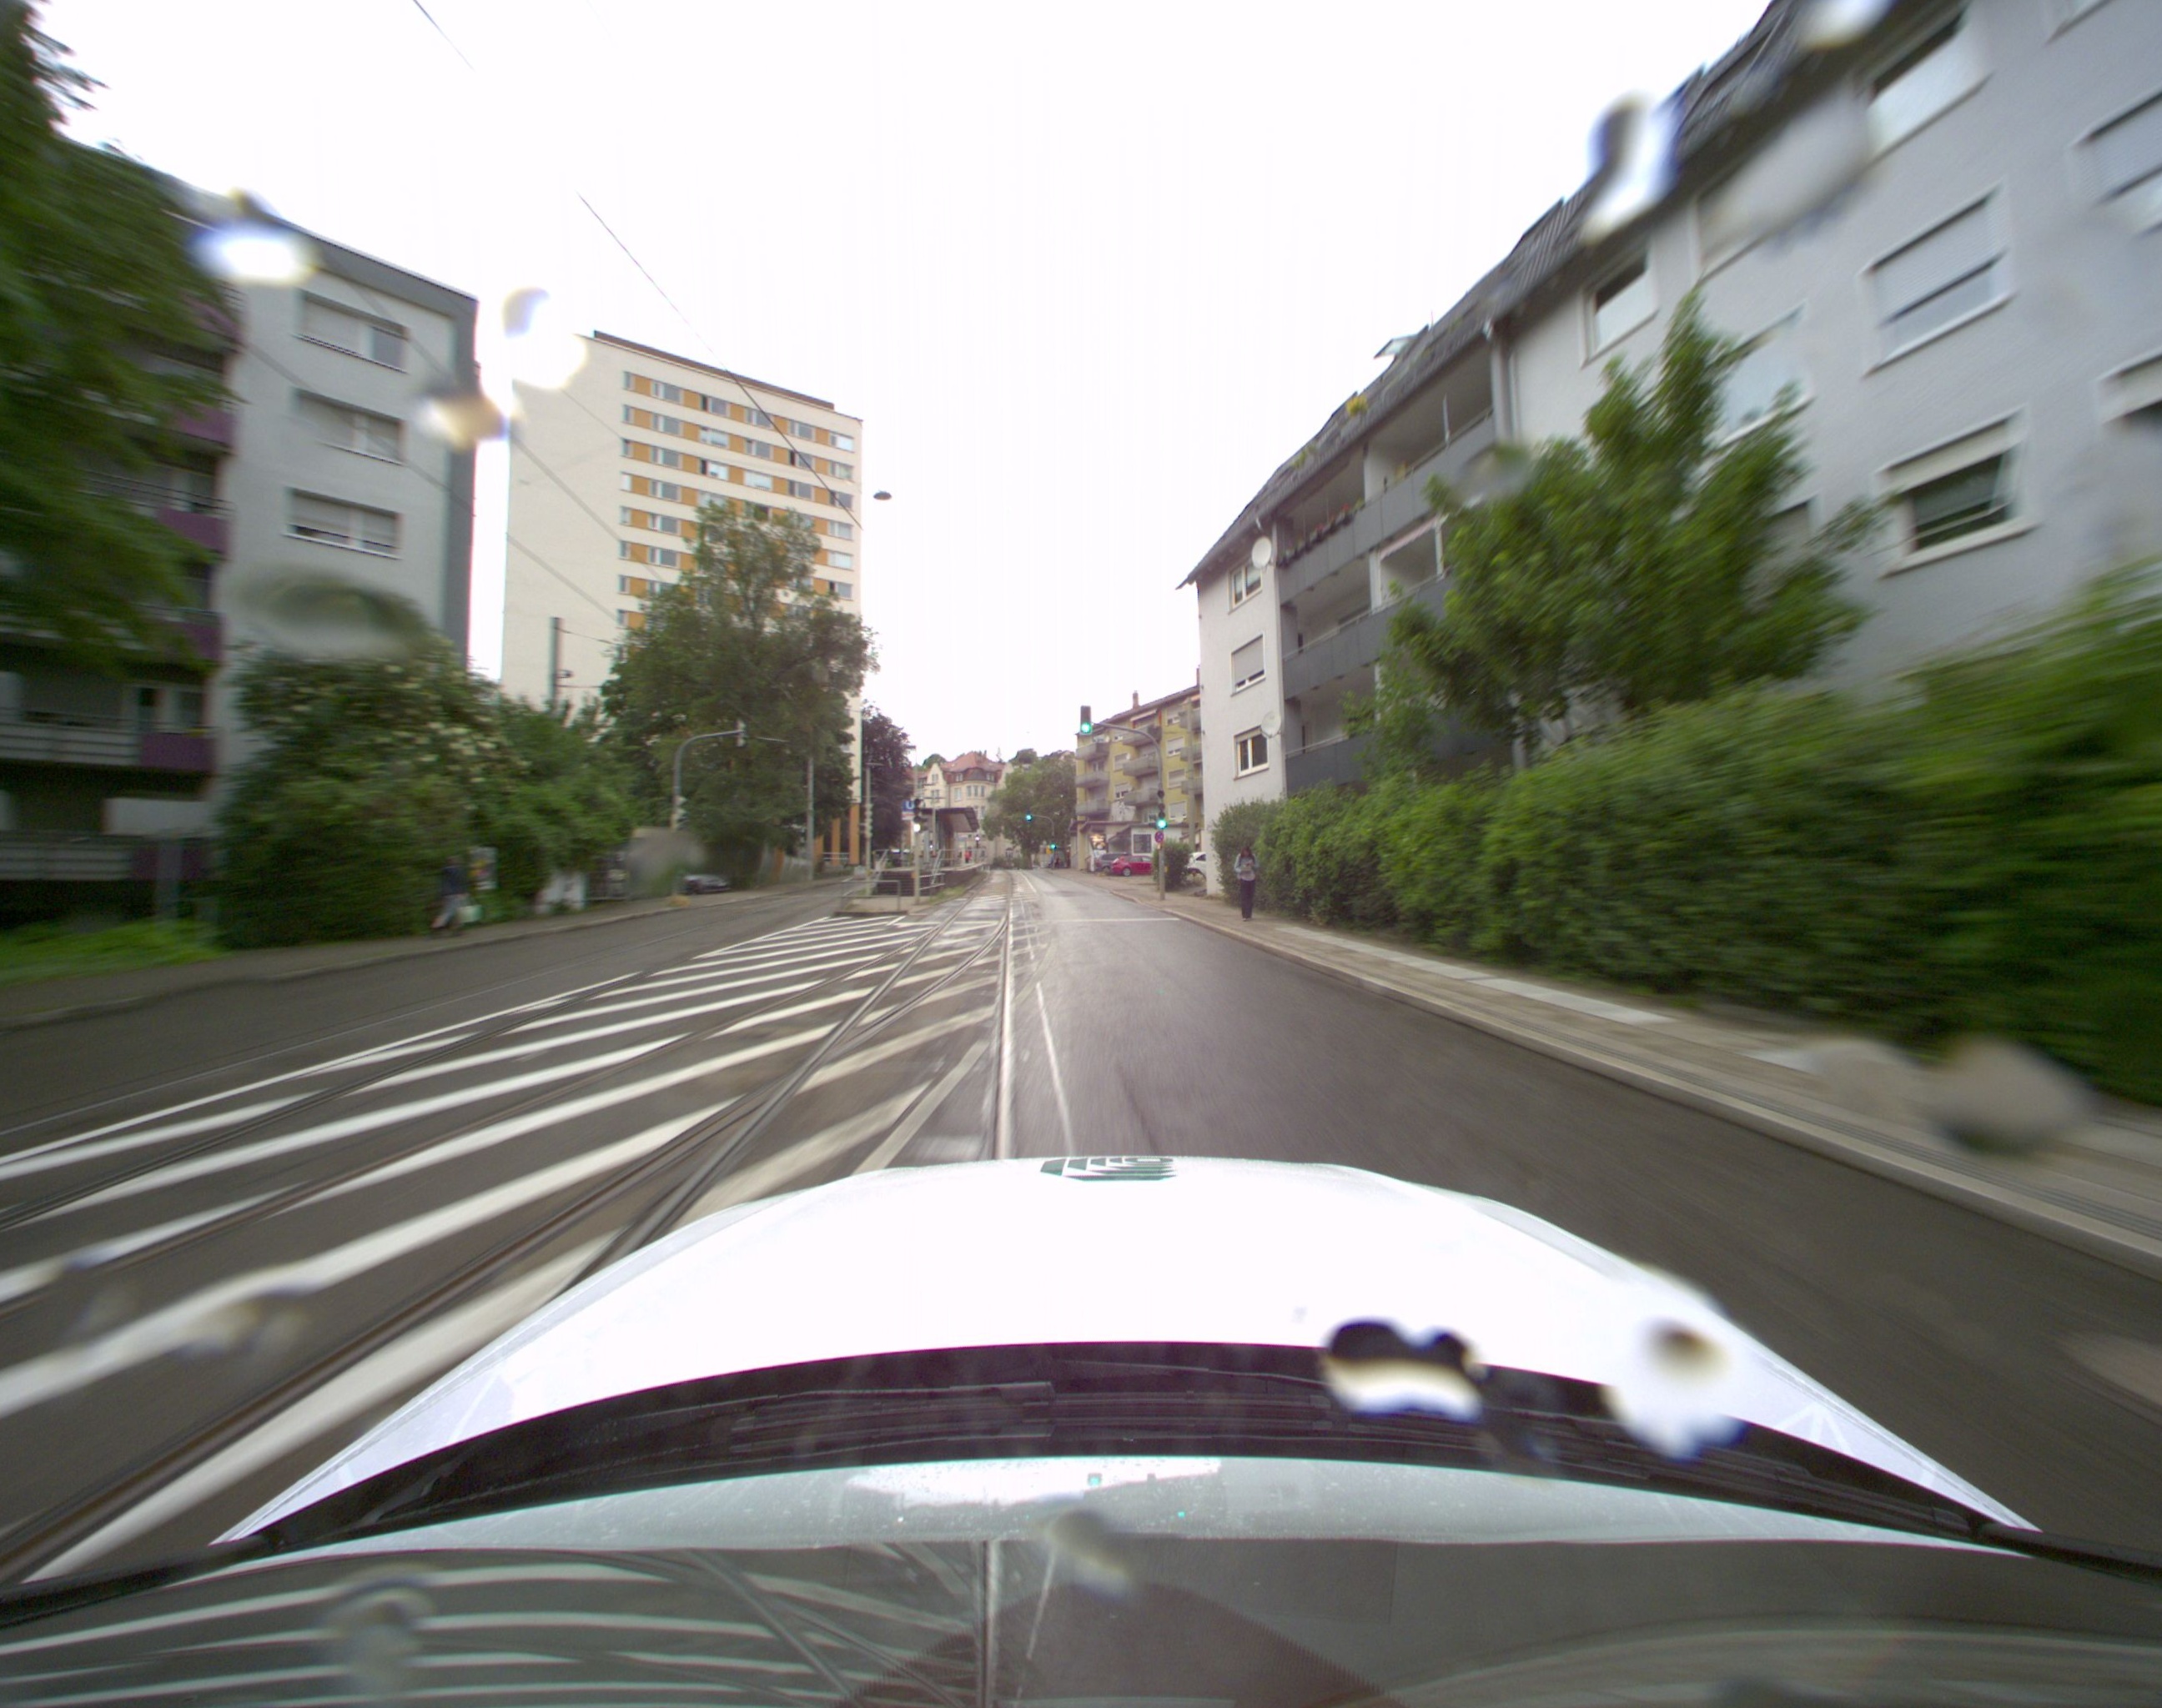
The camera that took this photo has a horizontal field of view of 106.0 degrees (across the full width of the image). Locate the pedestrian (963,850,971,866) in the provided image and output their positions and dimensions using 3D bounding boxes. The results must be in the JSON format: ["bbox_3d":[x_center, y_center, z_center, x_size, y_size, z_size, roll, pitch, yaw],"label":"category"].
[{"bbox_3d":[-10.610,0.361,76.056,0.656,1.467,0.771,0,-5,-3],"label":"pedestrian"}]

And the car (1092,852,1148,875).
[{"bbox_3d":[2.883,0.721,61.293,3.982,1.646,1.803,0,-3,-6],"label":"car"}]

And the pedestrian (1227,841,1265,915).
[{"bbox_3d":[3.673,0.539,18.195,0.643,1.629,0.698,0,-2,-4],"label":"pedestrian"}]

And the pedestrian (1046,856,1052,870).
[{"bbox_3d":[-3.441,0.983,87.347,0.578,1.467,0.541,1,-5,-13],"label":"pedestrian"}]

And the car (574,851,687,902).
[{"bbox_3d":[-16.499,0.877,30.100,1.989,1.684,3.994,0,-4,-3],"label":"car"}]

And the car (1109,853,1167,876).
[{"bbox_3d":[3.999,0.781,57.676,3.838,1.543,1.803,0,-3,-7],"label":"car"}]

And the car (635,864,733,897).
[{"bbox_3d":[-18.509,1.266,37.955,3.955,1.406,1.689,-2,-5,17],"label":"car"}]

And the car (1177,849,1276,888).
[{"bbox_3d":[6.422,0.670,36.183,3.983,1.646,1.803,0,-3,-7],"label":"car"}]

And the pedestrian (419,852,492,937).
[{"bbox_3d":[-12.755,0.813,16.633,0.736,1.677,0.918,0,-1,0],"label":"pedestrian"}]
